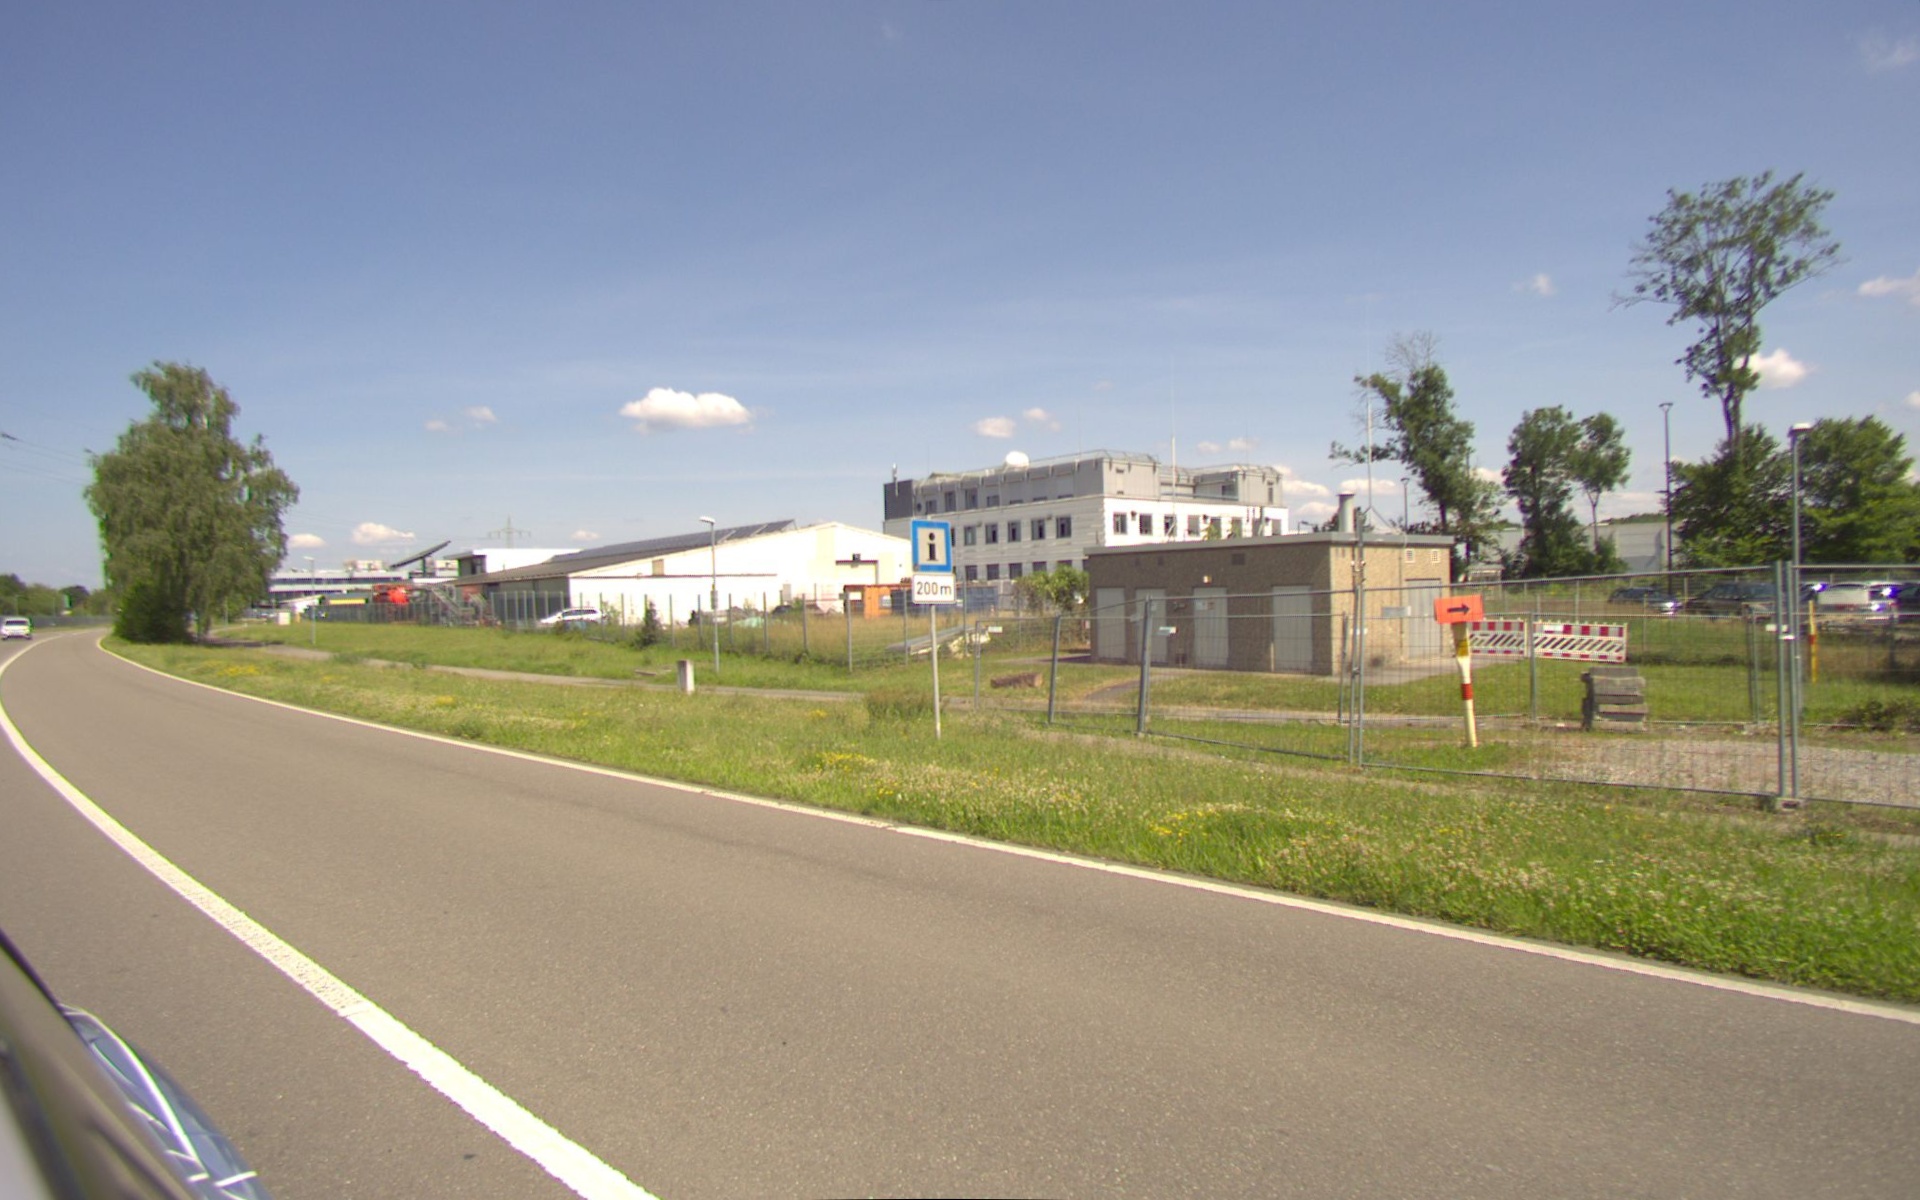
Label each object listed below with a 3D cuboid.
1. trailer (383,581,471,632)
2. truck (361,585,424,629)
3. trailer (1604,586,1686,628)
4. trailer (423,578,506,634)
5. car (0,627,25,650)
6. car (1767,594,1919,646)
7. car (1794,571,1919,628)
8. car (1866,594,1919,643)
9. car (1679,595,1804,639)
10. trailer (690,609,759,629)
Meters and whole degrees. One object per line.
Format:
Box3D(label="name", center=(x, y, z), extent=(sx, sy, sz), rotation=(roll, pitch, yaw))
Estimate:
Box3D(label="trailer", center=(-42.547, 0.535, 80.453), extent=(3.249, 3.672, 14.951), rotation=(0, 0, -39))
Box3D(label="truck", center=(-50.698, 0.655, 90.276), extent=(3.062, 3.672, 10.612), rotation=(0, 0, -39))
Box3D(label="trailer", center=(32.746, 0.330, 48.522), extent=(1.981, 1.894, 3.981), rotation=(-1, 0, 15))
Box3D(label="trailer", center=(-35.036, 0.424, 71.360), extent=(3.356, 3.672, 8.674), rotation=(0, 0, -39))
Box3D(label="car", center=(-77.606, 3.127, 82.472), extent=(1.809, 1.820, 4.837), rotation=(0, -1, -40))
Box3D(label="car", center=(28.441, 0.610, 32.645), extent=(1.977, 1.565, 3.989), rotation=(-1, 0, 9))
Box3D(label="car", center=(33.659, -0.010, 37.723), extent=(1.974, 2.029, 3.995), rotation=(-1, 0, 4))
Box3D(label="car", center=(31.427, 0.580, 32.179), extent=(1.977, 1.565, 3.989), rotation=(-1, 0, 9))
Box3D(label="car", center=(29.292, 0.626, 38.094), extent=(1.977, 1.565, 3.989), rotation=(-1, 0, 9))
Box3D(label="trailer", center=(-15.190, 1.238, 65.365), extent=(3.937, 1.175, 1.907), rotation=(-1, 0, -40))
